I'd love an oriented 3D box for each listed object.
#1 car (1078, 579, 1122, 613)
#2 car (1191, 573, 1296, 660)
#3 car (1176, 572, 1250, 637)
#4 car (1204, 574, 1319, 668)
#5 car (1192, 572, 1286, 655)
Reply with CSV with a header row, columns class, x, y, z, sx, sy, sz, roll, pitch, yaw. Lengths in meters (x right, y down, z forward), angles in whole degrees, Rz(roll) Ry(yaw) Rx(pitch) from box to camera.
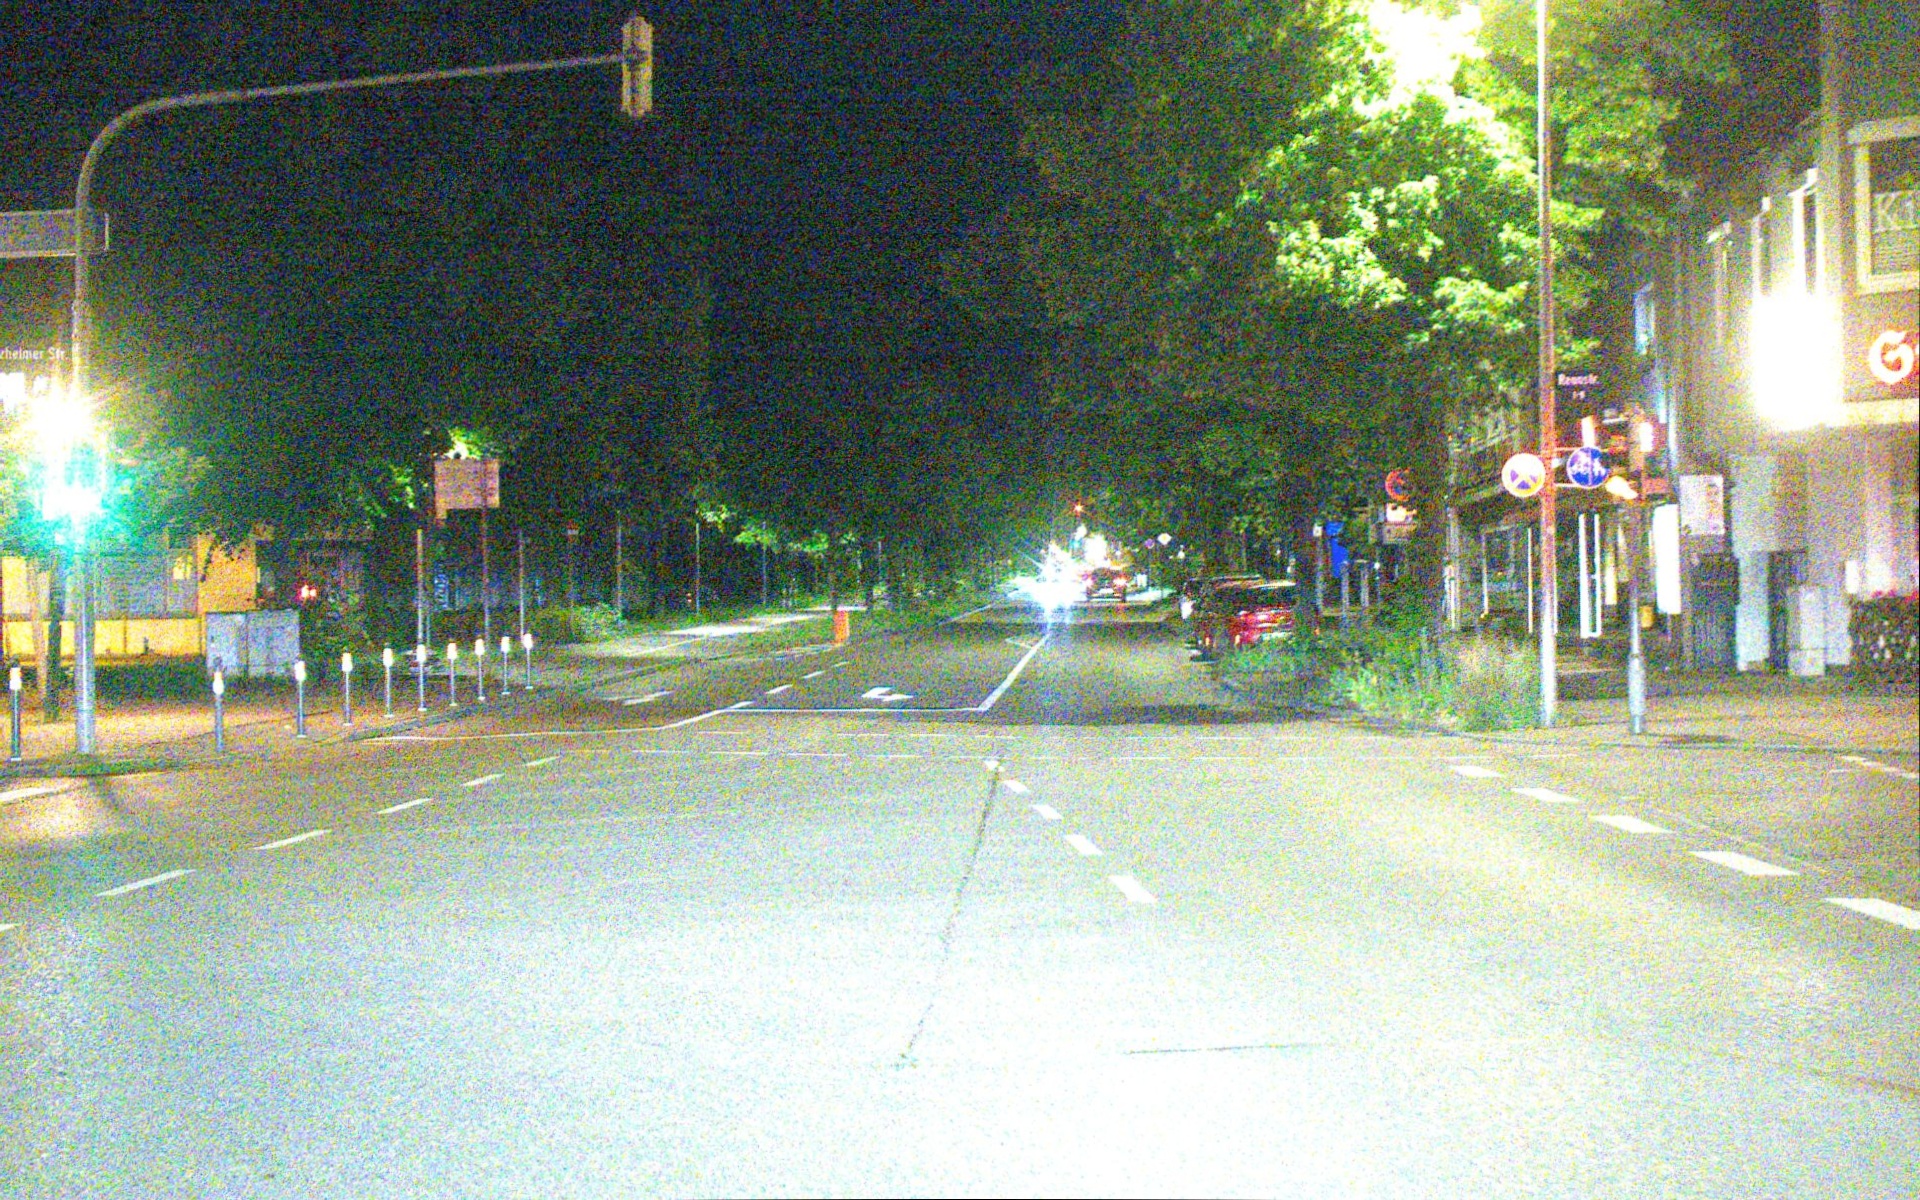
class,x,y,z,sx,sy,sz,roll,pitch,yaw
car,6.217,-0.179,153.164,1.874,1.449,4.316,1,0,2
car,5.433,0.301,66.240,1.876,1.610,4.000,-1,0,3
car,6.745,0.101,91.905,1.876,1.678,4.000,-1,0,3
car,5.339,0.354,61.205,1.876,1.610,4.000,-1,0,3
car,5.972,0.280,73.906,1.876,1.723,4.000,-1,0,3
